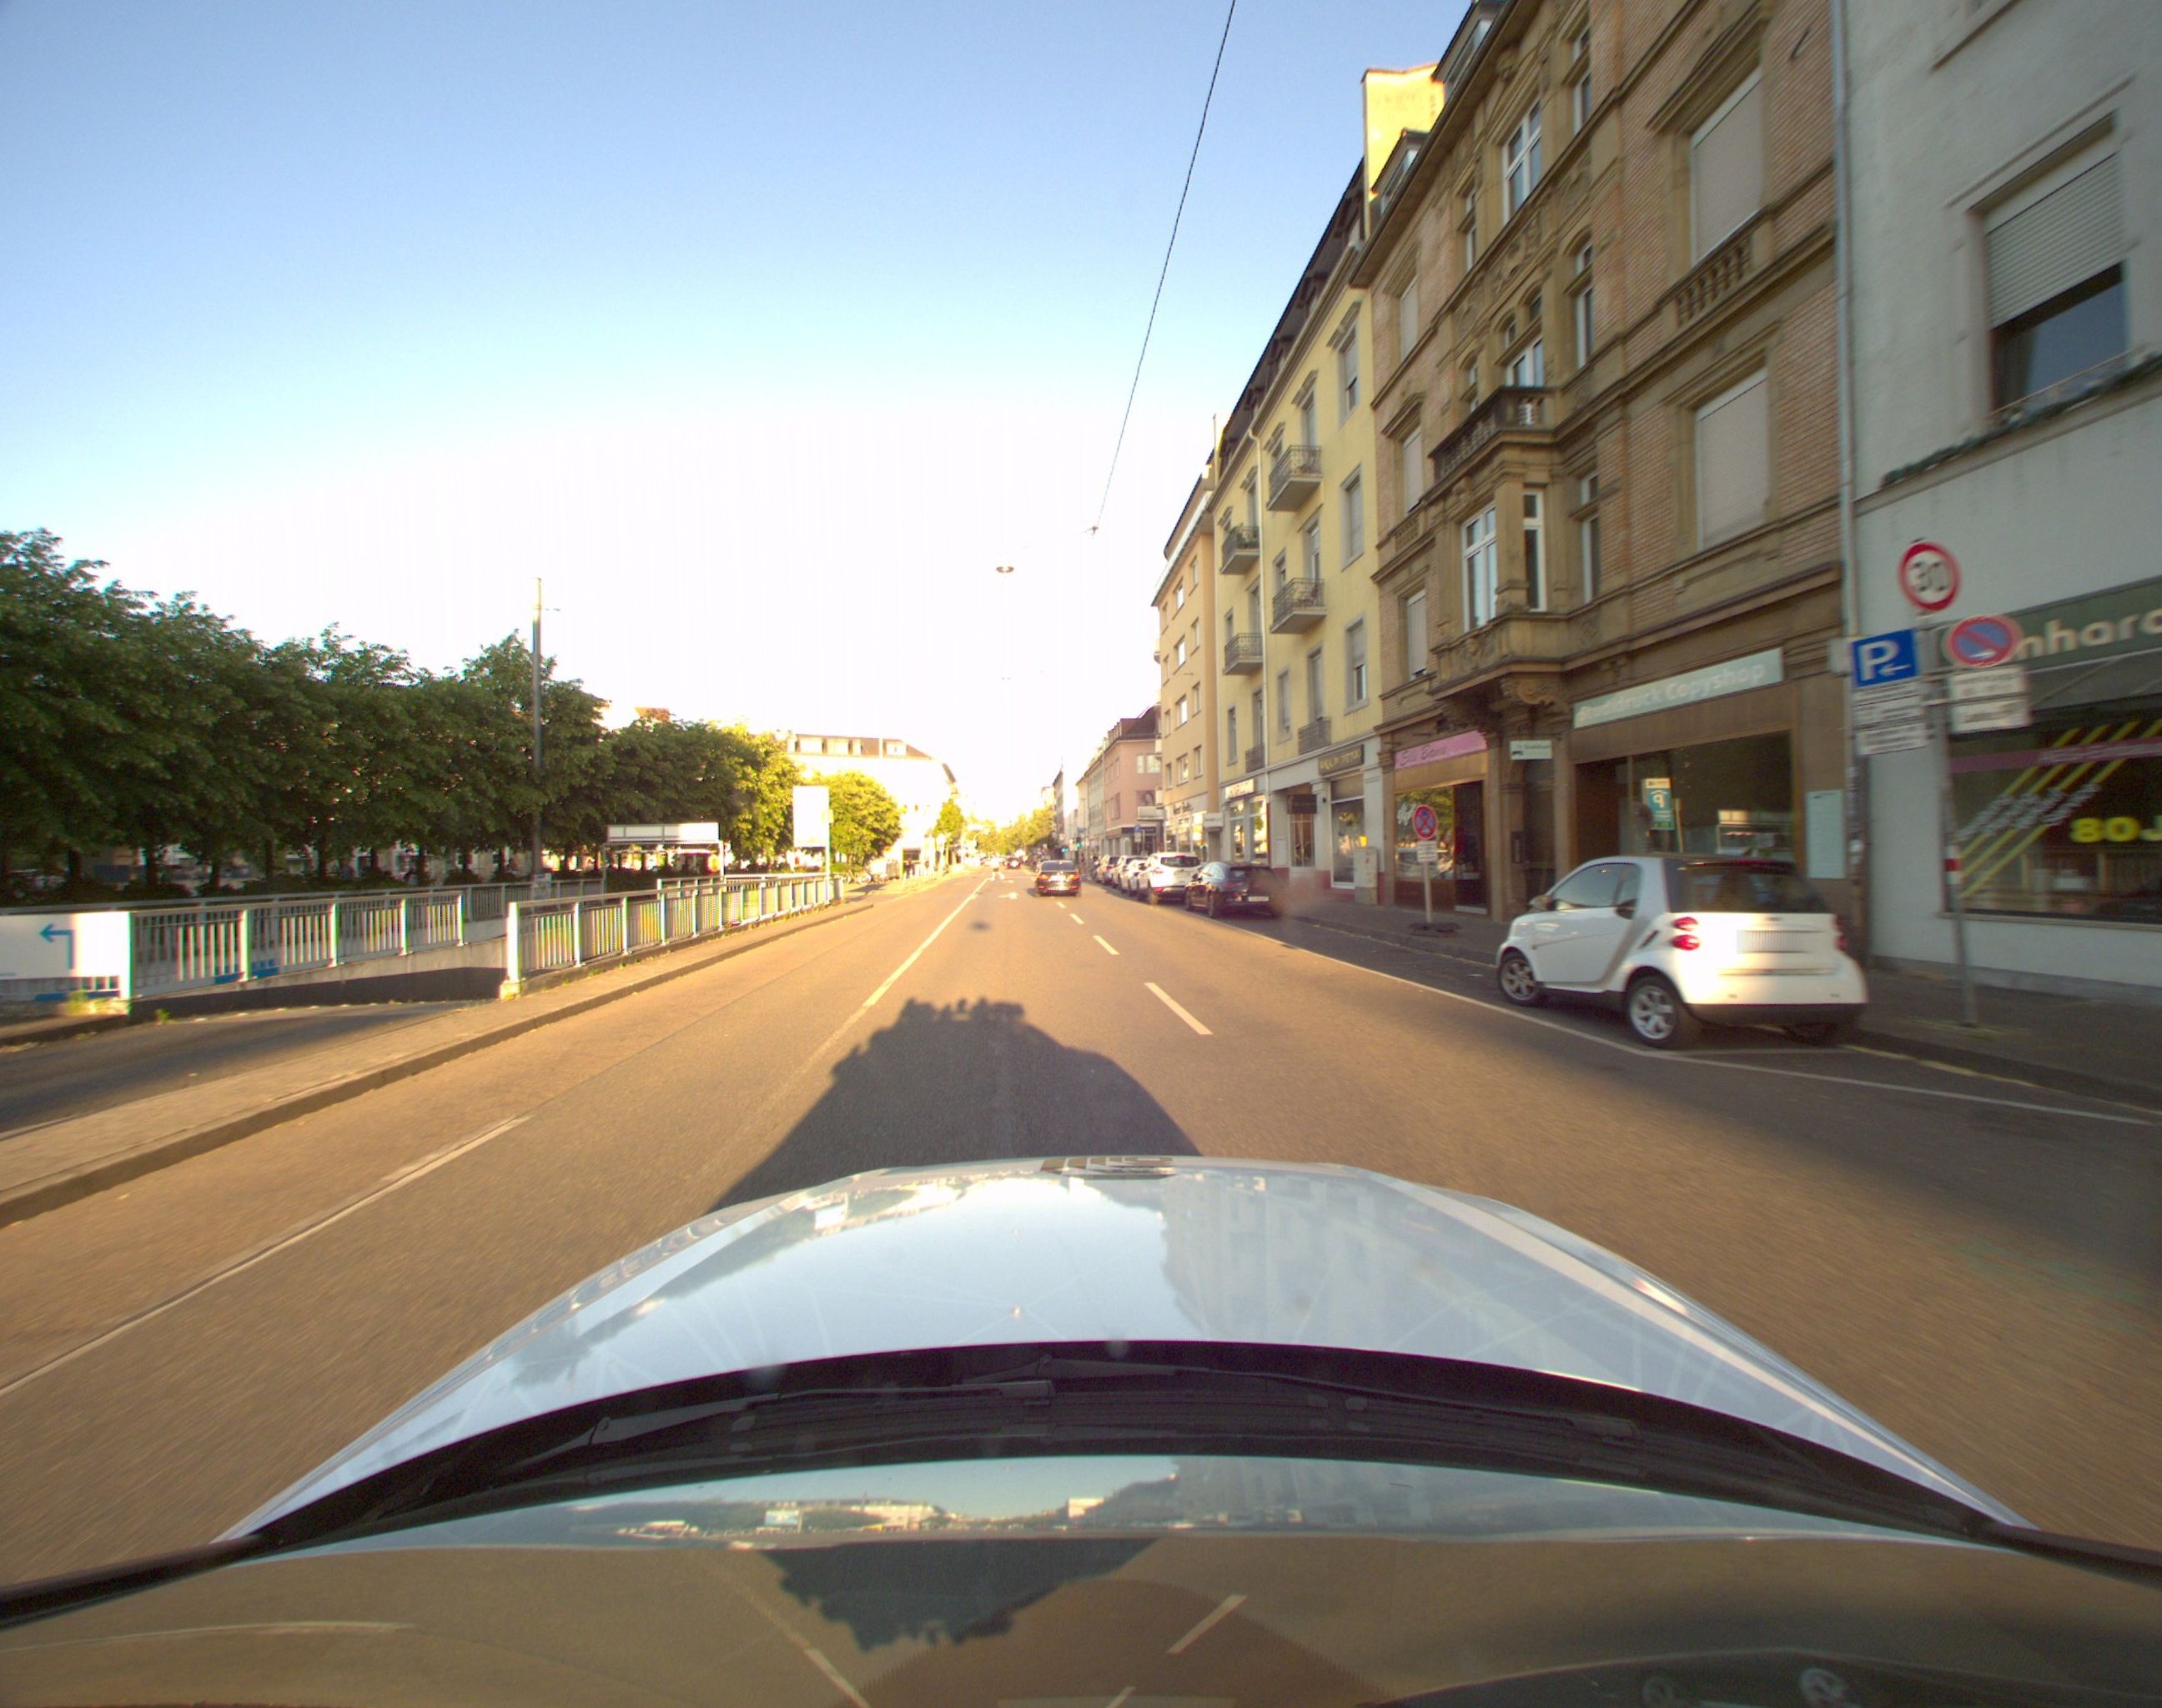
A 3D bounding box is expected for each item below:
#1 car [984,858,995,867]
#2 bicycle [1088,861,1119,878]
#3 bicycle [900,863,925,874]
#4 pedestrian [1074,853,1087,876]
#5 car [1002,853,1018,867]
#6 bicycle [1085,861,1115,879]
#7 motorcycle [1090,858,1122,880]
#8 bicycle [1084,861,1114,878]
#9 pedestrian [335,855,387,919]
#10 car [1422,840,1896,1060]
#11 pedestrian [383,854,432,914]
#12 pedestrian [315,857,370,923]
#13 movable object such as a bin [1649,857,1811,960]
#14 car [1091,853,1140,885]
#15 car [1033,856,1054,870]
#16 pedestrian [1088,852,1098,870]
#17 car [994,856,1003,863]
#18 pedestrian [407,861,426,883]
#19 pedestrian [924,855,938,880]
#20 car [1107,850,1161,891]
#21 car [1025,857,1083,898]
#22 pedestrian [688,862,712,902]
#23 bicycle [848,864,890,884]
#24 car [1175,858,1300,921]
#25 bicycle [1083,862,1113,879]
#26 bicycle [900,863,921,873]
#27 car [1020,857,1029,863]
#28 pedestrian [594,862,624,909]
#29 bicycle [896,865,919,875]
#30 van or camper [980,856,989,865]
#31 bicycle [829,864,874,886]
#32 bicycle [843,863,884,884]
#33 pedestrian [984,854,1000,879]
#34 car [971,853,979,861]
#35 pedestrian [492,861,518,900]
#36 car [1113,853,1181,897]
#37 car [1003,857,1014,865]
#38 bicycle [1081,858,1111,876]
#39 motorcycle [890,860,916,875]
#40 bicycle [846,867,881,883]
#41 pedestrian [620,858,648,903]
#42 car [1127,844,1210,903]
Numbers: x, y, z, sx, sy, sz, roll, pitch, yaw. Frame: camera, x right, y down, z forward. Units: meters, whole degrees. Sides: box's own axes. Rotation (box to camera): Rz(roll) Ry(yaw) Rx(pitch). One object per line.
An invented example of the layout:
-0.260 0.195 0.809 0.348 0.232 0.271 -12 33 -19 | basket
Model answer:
-17.658 1.577 156.652 1.890 1.596 3.994 -1 0 -4 | car
1.440 1.002 52.372 1.883 1.112 0.591 -1 -2 -9 | bicycle
-18.479 1.600 89.367 2.522 1.146 0.699 -1 -1 -8 | bicycle
-0.047 0.771 60.485 0.795 1.720 0.808 0 0 -12 | pedestrian
-9.250 0.754 105.569 1.990 1.750 3.993 -1 0 -5 | car
1.257 1.033 53.188 1.883 1.112 0.519 -1 0 -9 | bicycle
1.552 0.905 50.330 1.811 1.263 0.714 -2 0 -8 | motorcycle
1.186 1.005 53.723 1.883 1.112 0.600 -1 0 -9 | bicycle
-23.443 1.057 26.537 0.904 2.013 0.923 -1 0 17 | pedestrian
5.213 0.682 8.125 1.697 1.584 3.993 -1 1 -5 | car
-22.921 1.008 27.716 0.904 2.013 0.923 -1 0 17 | pedestrian
-23.156 1.103 25.539 0.904 2.013 0.923 -1 0 17 | pedestrian
8.169 0.649 10.328 0.865 1.186 1.395 -1 0 -6 | movable object such as a bin
1.829 0.806 45.005 1.991 1.613 4.792 -1 0 -7 | car
-4.391 1.067 95.300 2.330 1.604 3.887 -1 0 -5 | car
1.234 0.738 83.488 0.757 1.777 1.045 0 0 -10 | pedestrian
-20.364 1.391 201.344 1.989 1.750 3.994 -1 0 -4 | car
-47.130 1.285 57.781 0.985 1.501 0.978 -1 -1 -37 | pedestrian
-10.784 0.967 58.471 0.884 1.720 0.711 0 0 -17 | pedestrian
2.468 0.735 38.967 1.865 1.762 4.400 -1 1 -6 | car
-1.133 0.864 32.233 1.887 1.492 4.193 -1 0 -7 | car
-19.002 1.390 40.630 0.798 1.948 0.732 -1 0 7 | pedestrian
-13.038 1.232 50.105 2.429 1.237 0.516 1 -1 -8 | bicycle
3.969 0.832 21.553 1.990 1.434 4.841 -1 0 -5 | car
1.151 1.090 55.486 1.883 1.112 0.760 -1 0 -9 | bicycle
-18.973 1.551 90.535 2.234 1.135 0.809 -1 -1 -8 | bicycle
-13.916 1.503 201.530 1.893 1.596 3.989 -1 0 -8 | car
-20.044 1.331 34.595 0.798 1.948 0.732 -1 0 7 | pedestrian
-18.026 1.663 84.607 2.326 0.919 0.699 -1 0 -8 | bicycle
-26.827 1.700 226.365 2.472 2.405 3.987 0 0 -9 | van or camper
-13.669 1.231 48.524 2.485 1.284 0.819 -1 0 15 | bicycle
-13.524 1.224 50.739 2.429 1.237 0.461 -1 0 -8 | bicycle
-6.207 0.864 56.648 0.874 1.720 0.752 0 0 -30 | pedestrian
-28.077 0.881 215.058 1.824 2.013 3.671 -1 0 -4 | car
-29.509 1.340 41.738 0.799 1.948 0.731 -1 0 2 | pedestrian
2.591 0.773 33.226 2.012 1.543 4.862 -1 1 -5 | car
-12.646 1.198 142.406 1.881 1.486 3.995 -1 0 -4 | car
0.994 0.883 54.660 1.883 1.167 0.721 -1 0 -9 | bicycle
-17.755 1.328 81.474 2.410 1.426 1.110 -1 0 -7 | motorcycle
-13.666 1.342 51.312 2.041 0.971 0.634 1 -1 -8 | bicycle
-19.933 1.177 36.327 0.798 1.948 0.732 -1 0 7 | pedestrian
2.845 0.560 27.453 1.879 1.745 4.651 -1 1 -5 | car
